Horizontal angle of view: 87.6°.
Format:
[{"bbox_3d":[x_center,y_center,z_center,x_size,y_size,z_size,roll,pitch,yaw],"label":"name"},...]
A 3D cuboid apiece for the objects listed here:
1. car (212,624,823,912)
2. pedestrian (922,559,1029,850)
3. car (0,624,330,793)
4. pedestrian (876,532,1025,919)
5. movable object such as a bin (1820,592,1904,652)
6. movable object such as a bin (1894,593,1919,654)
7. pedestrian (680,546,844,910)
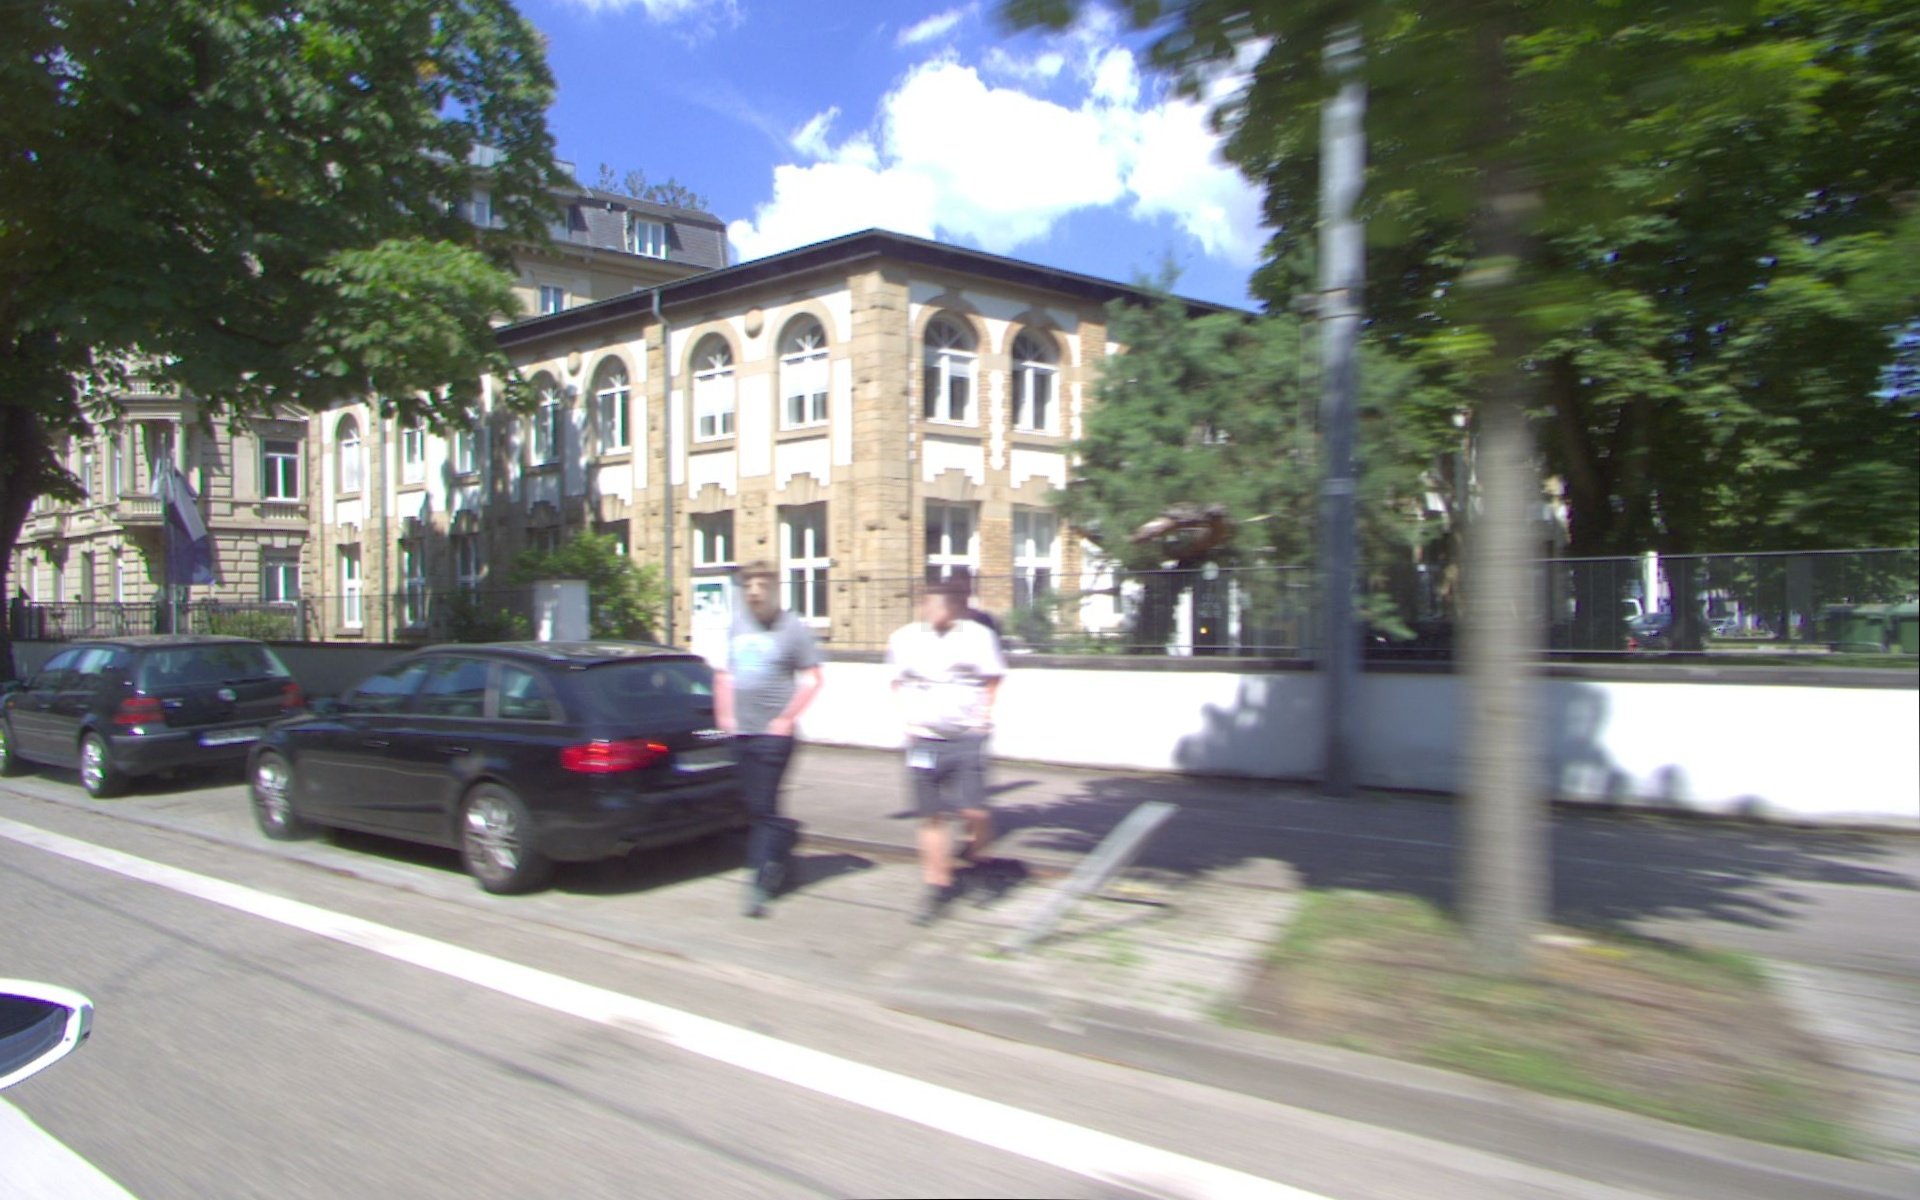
[{"bbox_3d":[-3.311,0.936,7.215,4.463,1.474,1.872,-1,-1,33],"label":"car"},{"bbox_3d":[0.086,0.635,6.337,0.608,1.760,0.478,-1,1,-4],"label":"pedestrian"},{"bbox_3d":[-8.618,0.995,10.529,4.182,1.442,1.708,-1,-1,32],"label":"car"},{"bbox_3d":[-0.062,0.612,5.178,0.712,1.884,0.576,0,1,-4],"label":"pedestrian"},{"bbox_3d":[23.237,0.558,25.803,1.392,1.482,1.378,0,0,-38],"label":"movable object such as a bin"},{"bbox_3d":[23.950,0.566,24.525,1.392,1.482,1.378,0,0,-38],"label":"movable object such as a bin"},{"bbox_3d":[-1.062,0.667,5.497,0.795,1.884,0.576,0,1,-4],"label":"pedestrian"}]
